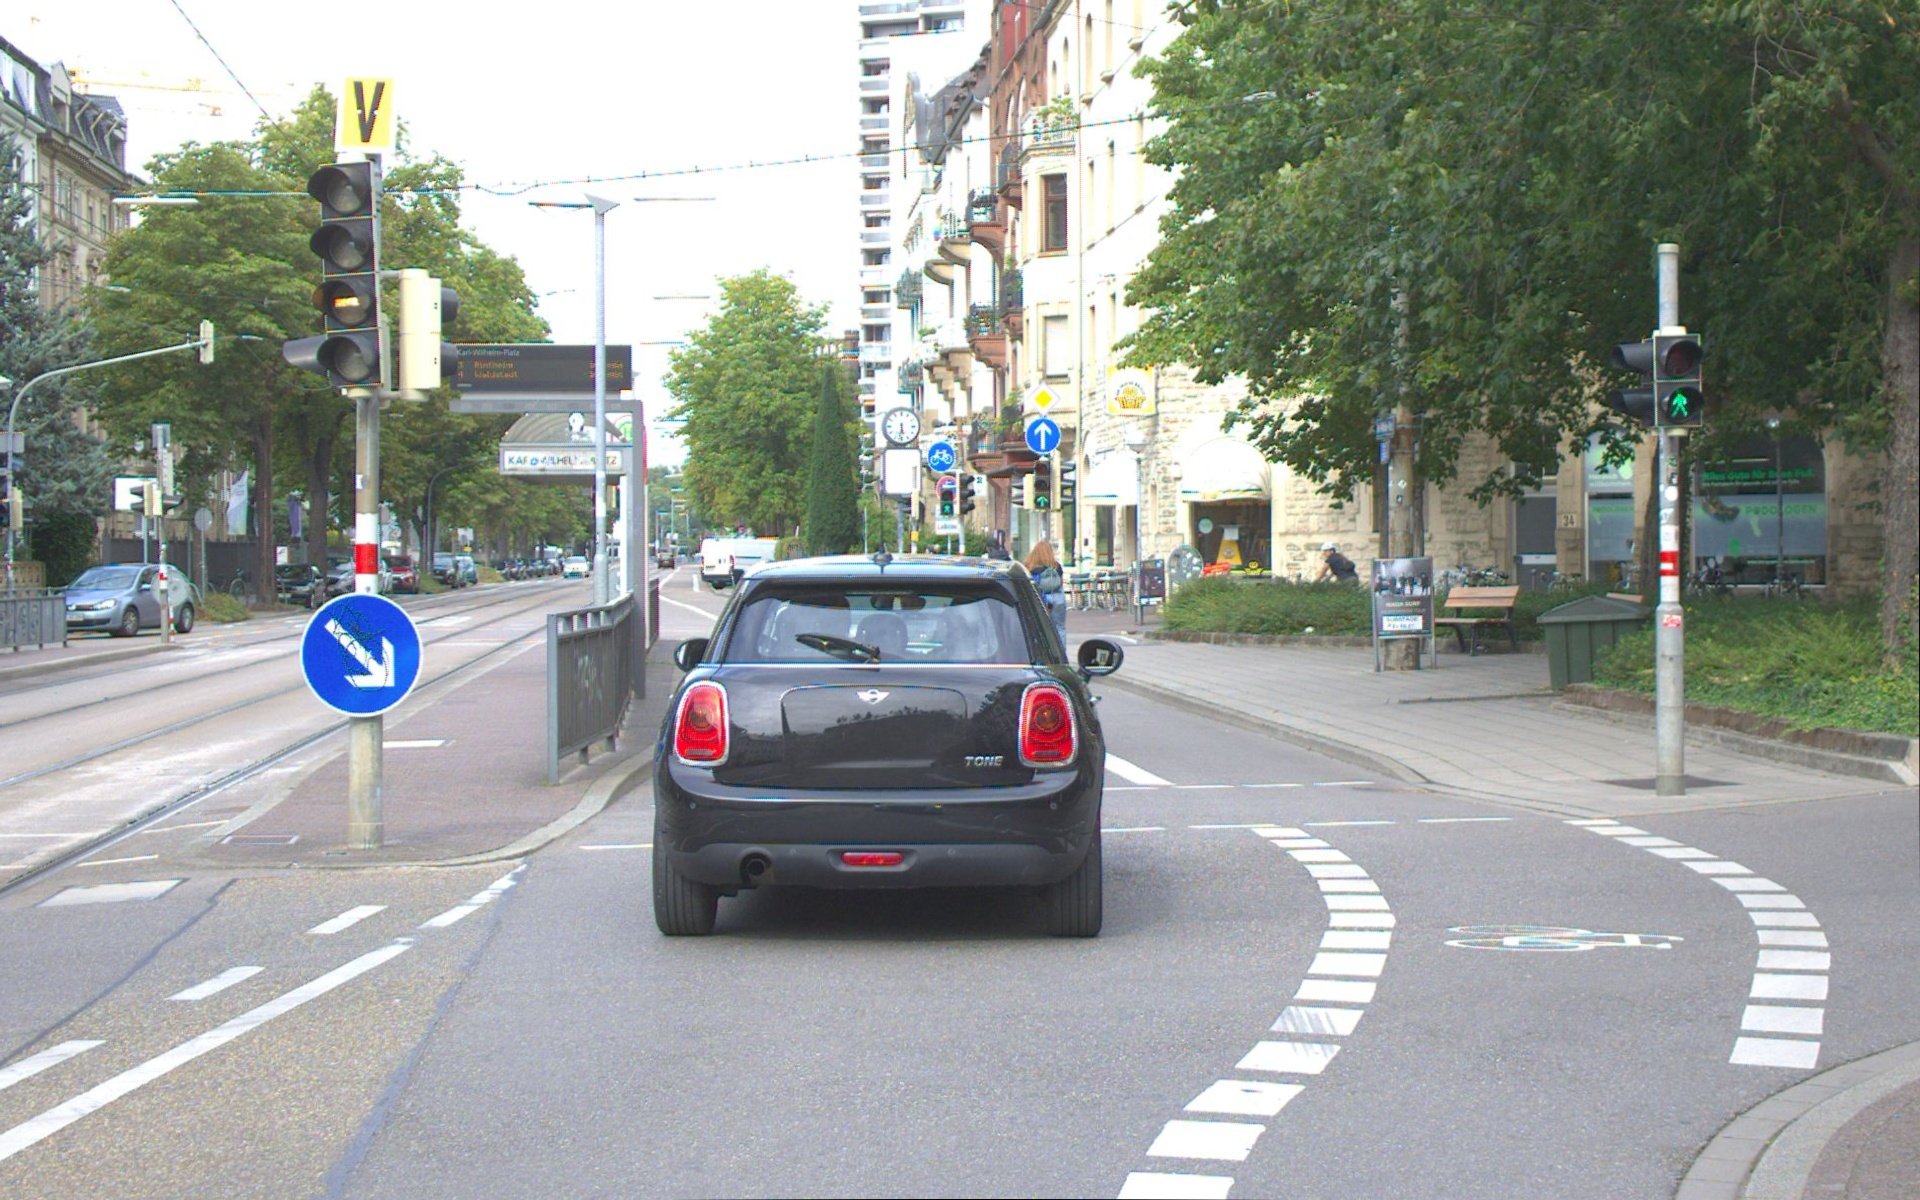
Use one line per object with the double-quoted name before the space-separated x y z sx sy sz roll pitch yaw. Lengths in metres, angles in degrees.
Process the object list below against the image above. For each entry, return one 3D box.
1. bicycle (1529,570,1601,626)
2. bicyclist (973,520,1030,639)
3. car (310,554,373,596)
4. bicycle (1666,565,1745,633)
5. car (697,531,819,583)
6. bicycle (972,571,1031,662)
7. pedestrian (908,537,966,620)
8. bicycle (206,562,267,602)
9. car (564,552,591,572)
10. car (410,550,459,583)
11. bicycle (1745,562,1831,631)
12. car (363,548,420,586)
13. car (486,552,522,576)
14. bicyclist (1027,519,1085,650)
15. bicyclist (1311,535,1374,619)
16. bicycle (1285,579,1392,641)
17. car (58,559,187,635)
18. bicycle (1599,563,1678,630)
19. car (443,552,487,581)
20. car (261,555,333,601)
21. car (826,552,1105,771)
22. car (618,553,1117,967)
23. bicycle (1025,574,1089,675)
"bicycle" 10.673 -0.042 60.659 0.532 0.969 1.645 0 1 38
"bicyclist" 0.547 -0.284 45.733 0.684 1.558 0.998 -1 1 -2
"car" -21.349 -0.875 118.809 1.766 1.390 4.001 -1 1 -5
"bicycle" 12.706 -0.024 58.544 0.532 1.124 1.889 0 1 38
"car" -8.925 -1.910 151.852 5.026 2.265 2.395 -1 1 -44
"bicycle" 0.548 0.212 45.797 0.684 1.166 1.697 -1 1 -2
"pedestrian" -0.488 -0.449 71.977 0.732 1.668 0.833 -3 2 43
"bicycle" -20.894 -0.529 99.301 1.667 1.115 0.572 -2 1 -43
"car" -26.567 -2.651 238.703 1.766 1.390 4.001 -1 1 -5
"car" -25.721 -1.641 168.327 1.993 1.546 4.001 -1 1 -4
"bicycle" 13.837 -0.065 57.391 0.667 1.124 1.889 0 1 38
"car" -24.028 -1.398 145.414 1.993 1.546 4.001 -1 1 -4
"car" -29.243 -2.325 220.674 1.993 1.546 4.001 -1 1 -4
"bicyclist" 1.152 -0.192 41.406 0.594 1.545 1.014 -1 1 -4
"bicyclist" 6.765 -0.400 60.825 0.914 1.468 0.615 0 1 36
"bicycle" 6.701 0.179 60.884 1.819 1.073 0.615 0 1 36
"car" -16.890 -0.075 69.492 1.751 1.436 4.001 1 1 -2
"bicycle" 11.722 -0.063 59.339 0.532 1.124 1.889 0 1 38
"car" -26.551 -1.817 184.543 1.993 1.546 4.001 -1 1 -4
"car" -20.575 -0.689 106.807 1.766 1.390 4.001 -1 1 -5
"car" -0.029 0.401 25.981 1.926 1.504 4.000 -1 1 -2
"car" -0.345 0.546 14.273 1.751 1.436 4.000 1 1 0
"bicycle" 1.159 0.278 41.417 0.598 1.166 1.697 -1 1 -4
